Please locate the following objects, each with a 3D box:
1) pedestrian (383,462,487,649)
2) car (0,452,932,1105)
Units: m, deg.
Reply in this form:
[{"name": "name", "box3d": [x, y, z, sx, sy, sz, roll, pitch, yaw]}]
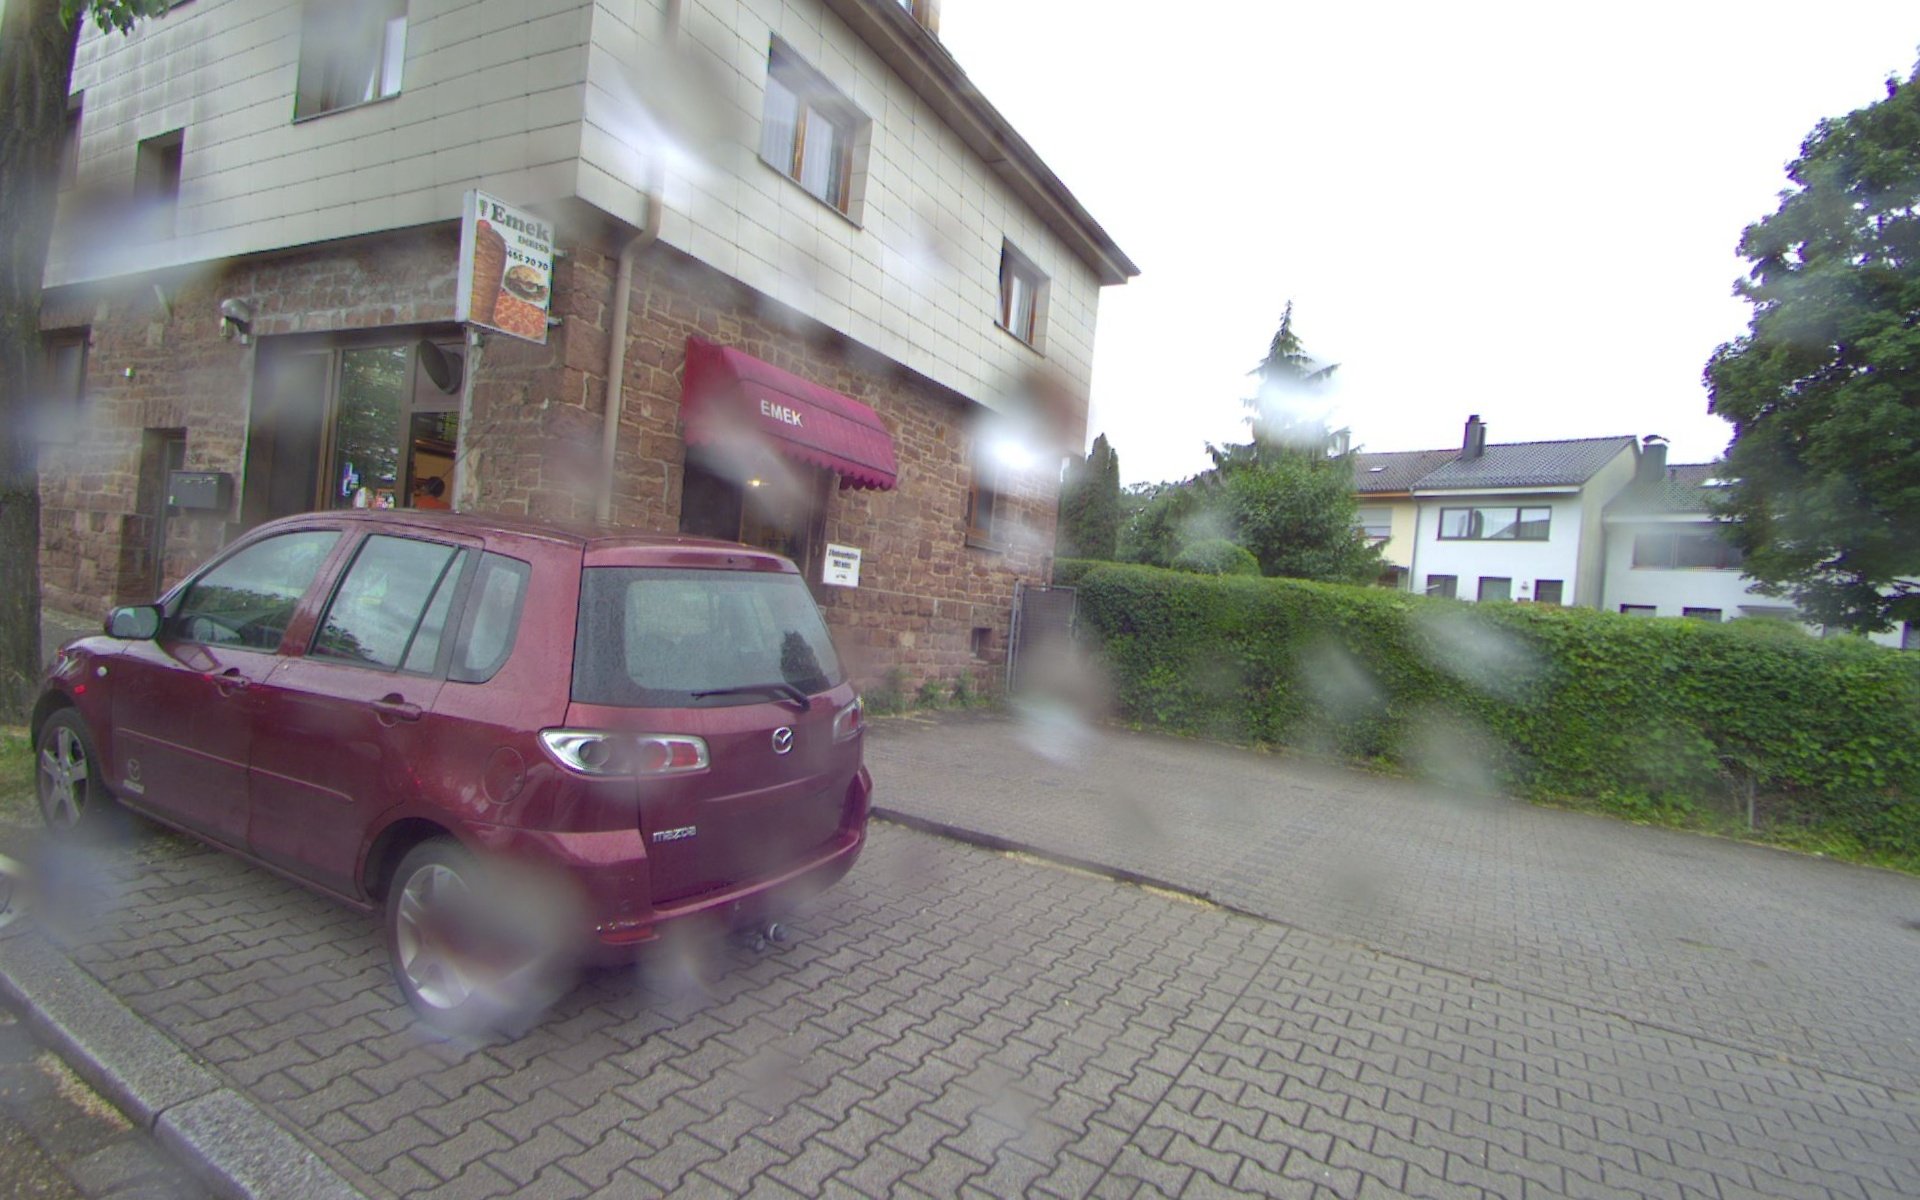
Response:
[{"name": "pedestrian", "box3d": [-5.519, -0.451, 10.587, 0.475, 1.862, 0.638, 7, 0, 31]}, {"name": "car", "box3d": [-2.109, 0.352, 4.078, 3.564, 1.511, 1.585, 7, 3, 29]}]
